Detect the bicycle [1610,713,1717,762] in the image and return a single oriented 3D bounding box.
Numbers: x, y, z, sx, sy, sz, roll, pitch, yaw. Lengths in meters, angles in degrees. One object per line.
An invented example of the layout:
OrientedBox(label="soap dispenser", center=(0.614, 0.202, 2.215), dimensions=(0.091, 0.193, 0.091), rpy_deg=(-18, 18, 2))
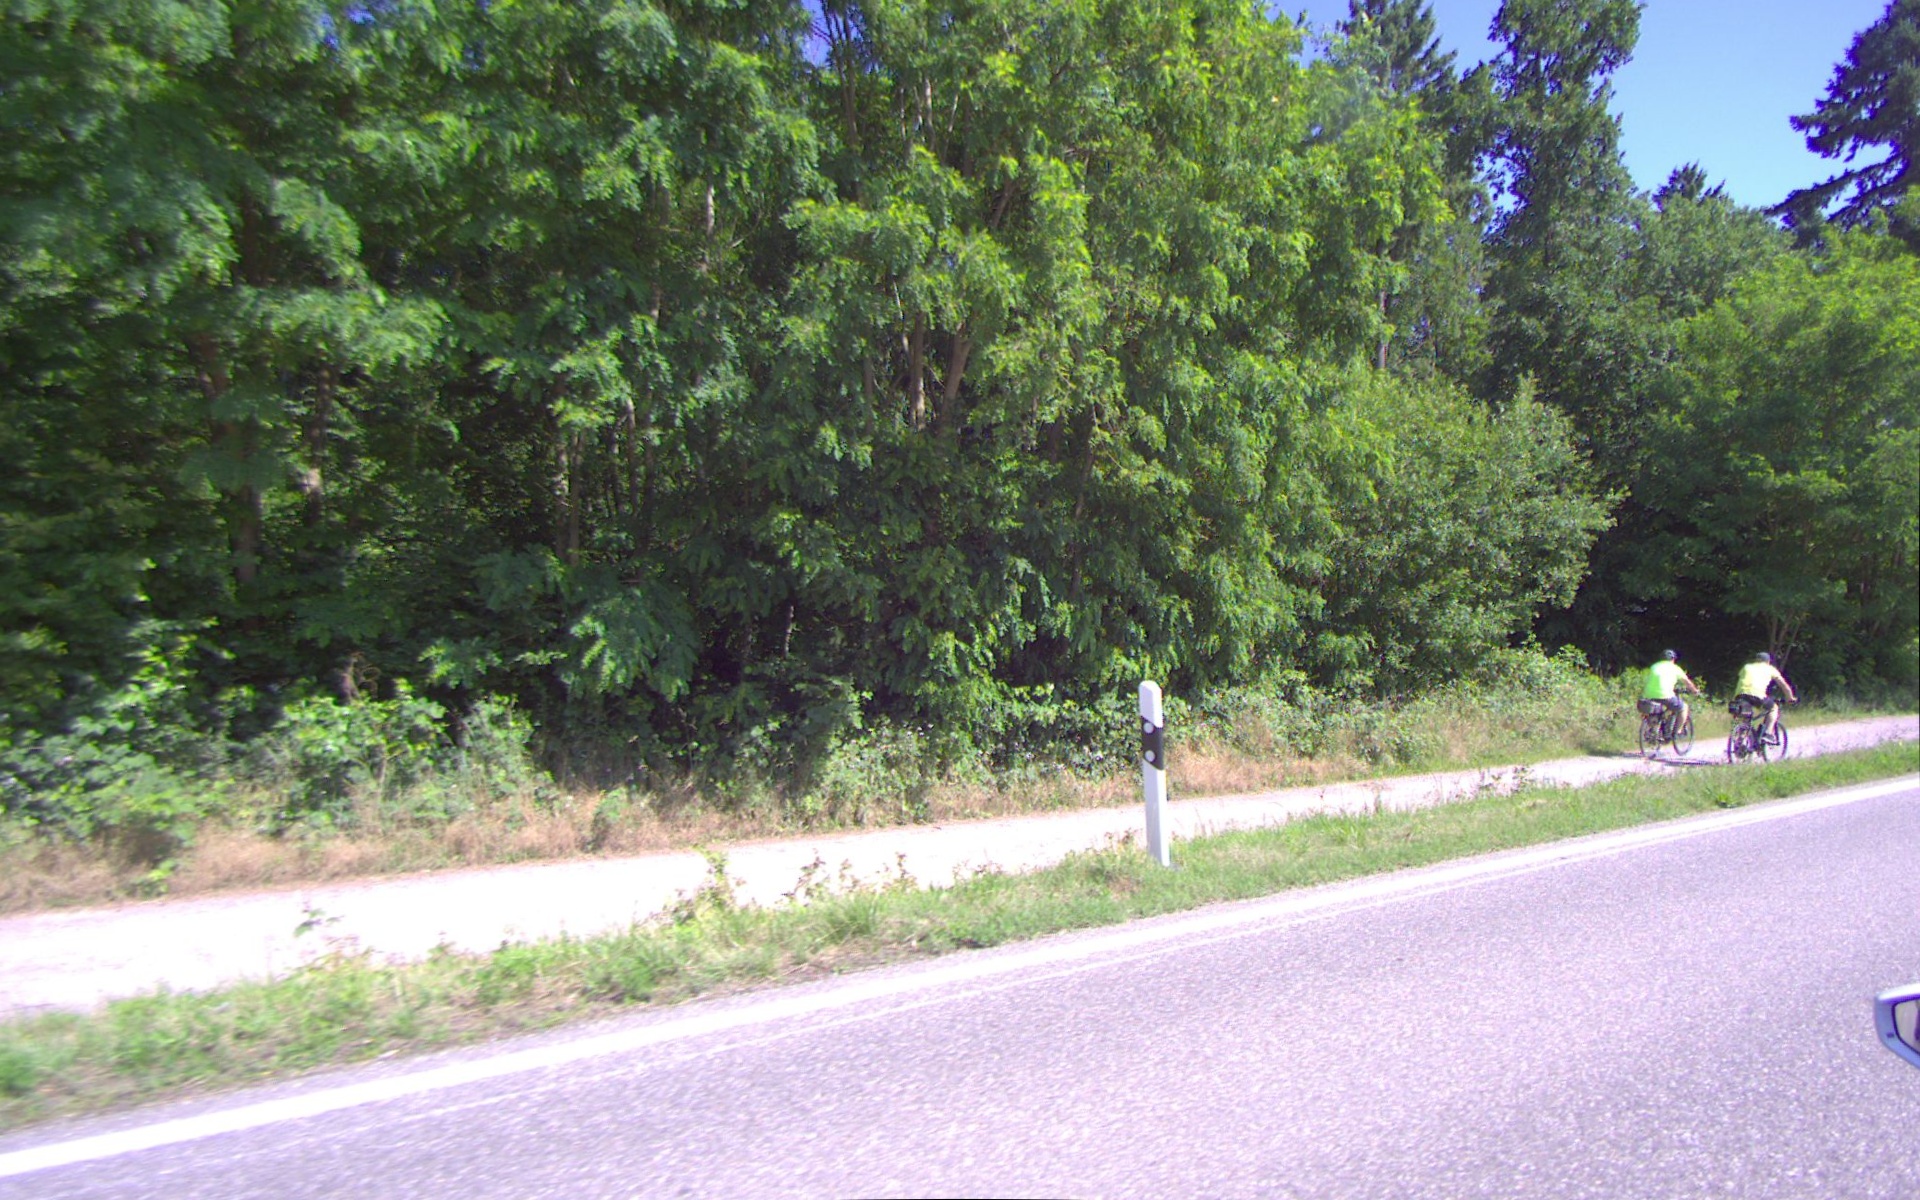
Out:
OrientedBox(label="bicycle", center=(11.641, 2.250, 16.601), dimensions=(2.112, 0.690, 0.616), rpy_deg=(4, -1, -30))

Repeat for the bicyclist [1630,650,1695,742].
OrientedBox(label="bicyclist", center=(11.577, 1.571, 16.551), dimensions=(0.694, 1.434, 0.602), rpy_deg=(3, -1, -30))

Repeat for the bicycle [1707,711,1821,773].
OrientedBox(label="bicycle", center=(12.419, 2.168, 15.498), dimensions=(2.112, 0.798, 0.637), rpy_deg=(1, -4, -31))

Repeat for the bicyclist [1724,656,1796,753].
OrientedBox(label="bicyclist", center=(12.277, 1.584, 15.416), dimensions=(0.694, 1.434, 0.602), rpy_deg=(1, -4, -30))
